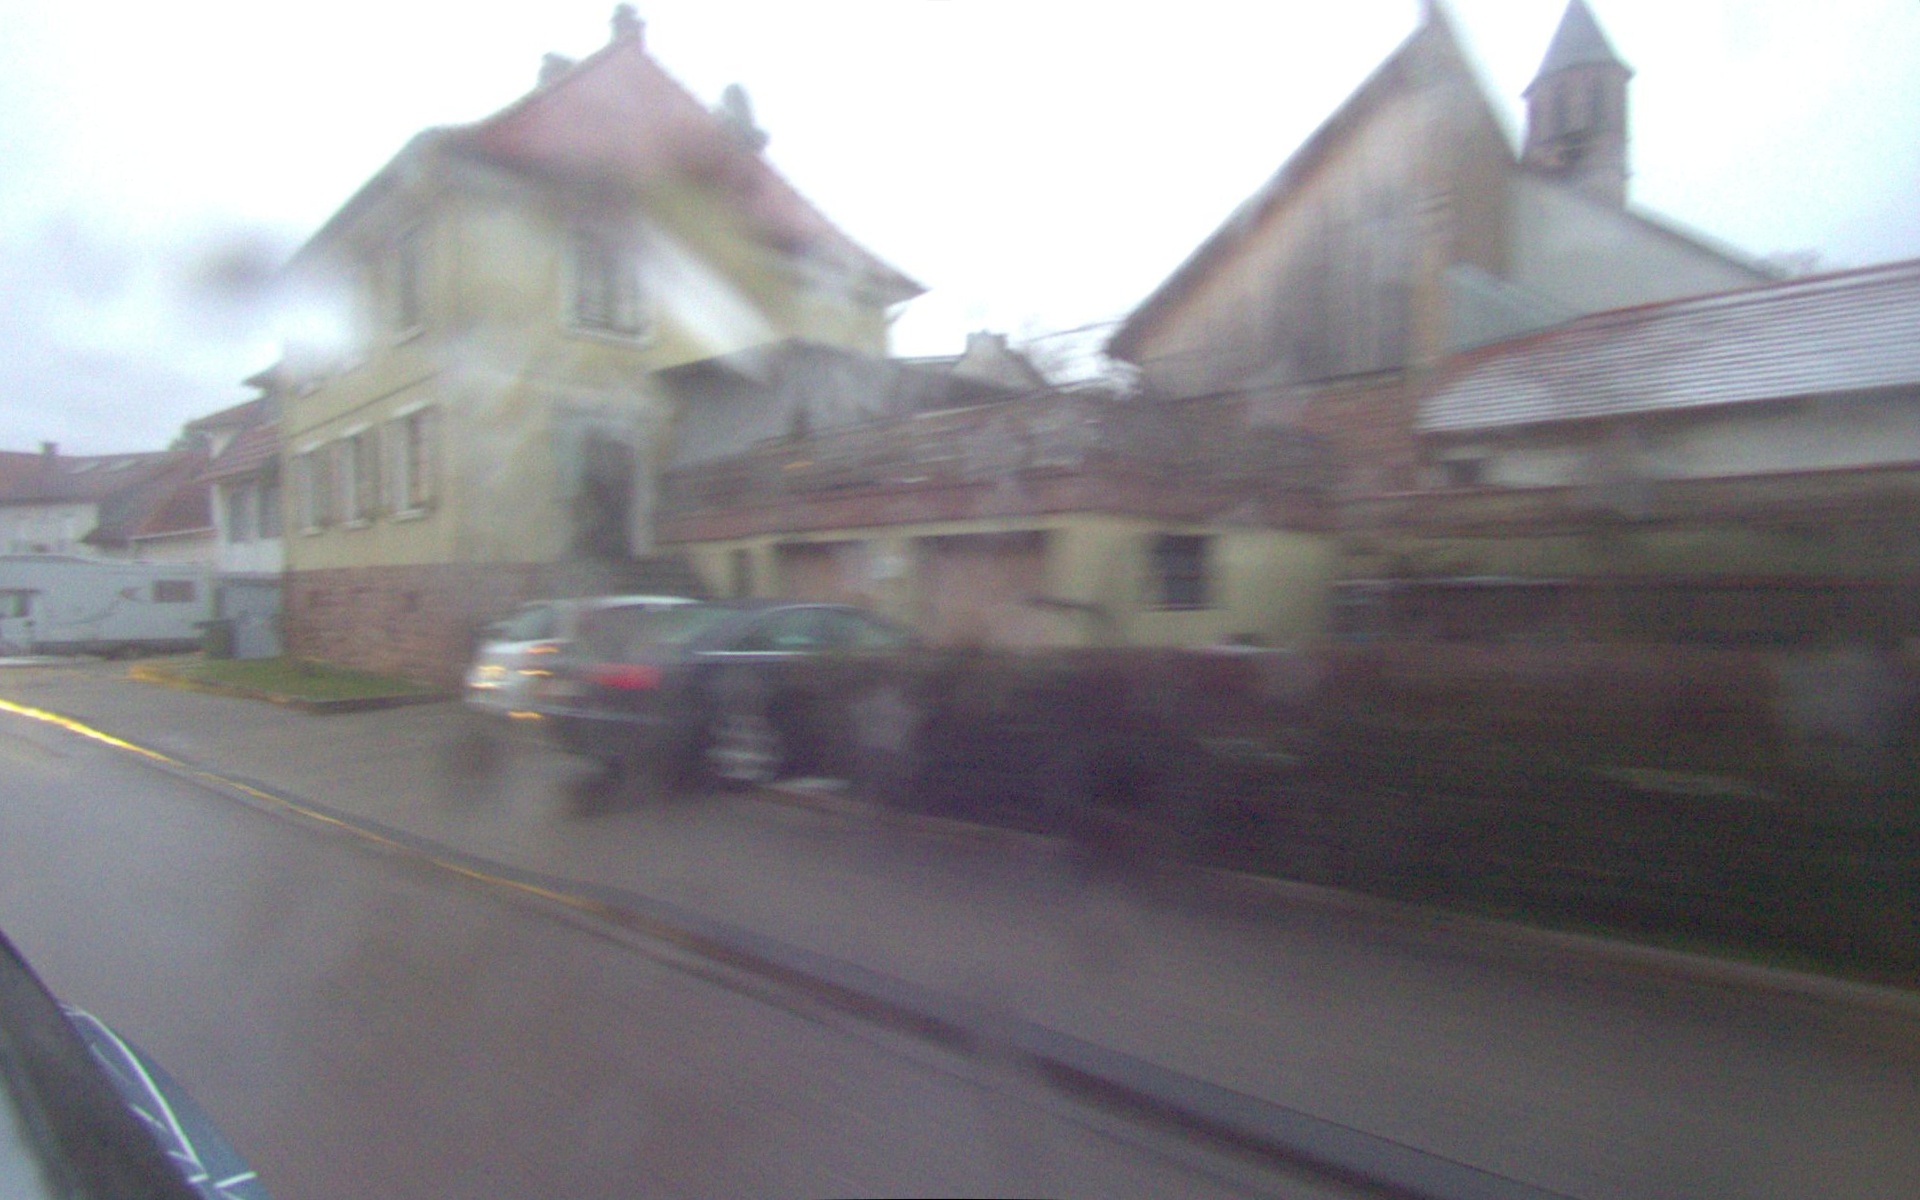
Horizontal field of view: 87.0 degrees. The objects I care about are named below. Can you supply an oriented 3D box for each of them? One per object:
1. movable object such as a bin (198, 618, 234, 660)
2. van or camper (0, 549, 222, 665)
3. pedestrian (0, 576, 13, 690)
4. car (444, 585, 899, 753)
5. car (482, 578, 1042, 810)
[{"bbox_3d":[-18.960,0.983,25.788,0.581,1.028,0.609,-1,1,44],"label":"movable object such as a bin"},{"bbox_3d":[-24.318,0.216,27.911,2.320,2.964,6.001,-1,-1,37],"label":"van or camper"},{"bbox_3d":[-17.725,0.605,18.237,0.868,2.028,0.776,0,3,39],"label":"pedestrian"},{"bbox_3d":[-3.004,0.596,11.296,1.893,1.481,4.551,-1,0,45],"label":"car"},{"bbox_3d":[-1.436,0.581,8.834,1.999,1.481,4.546,-1,0,41],"label":"car"}]
